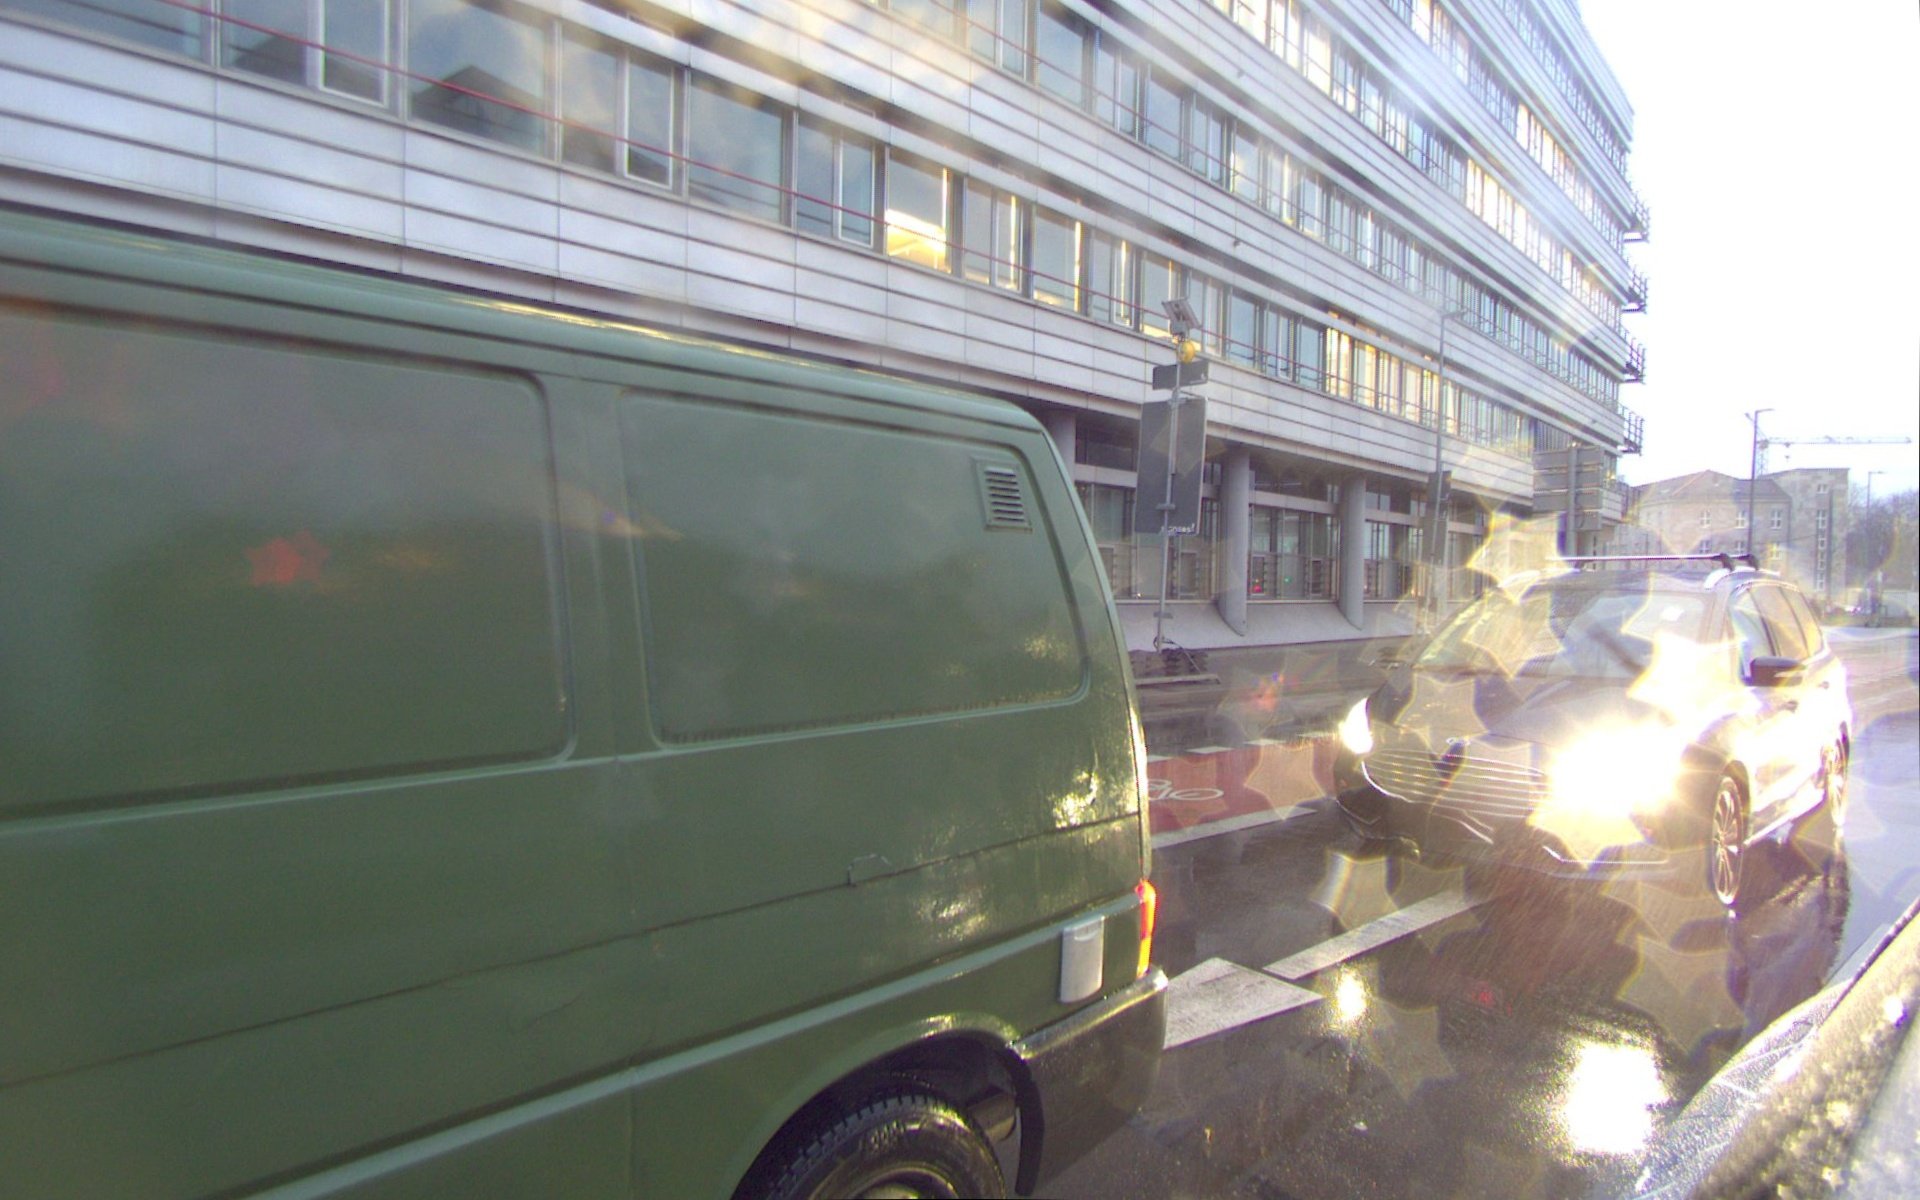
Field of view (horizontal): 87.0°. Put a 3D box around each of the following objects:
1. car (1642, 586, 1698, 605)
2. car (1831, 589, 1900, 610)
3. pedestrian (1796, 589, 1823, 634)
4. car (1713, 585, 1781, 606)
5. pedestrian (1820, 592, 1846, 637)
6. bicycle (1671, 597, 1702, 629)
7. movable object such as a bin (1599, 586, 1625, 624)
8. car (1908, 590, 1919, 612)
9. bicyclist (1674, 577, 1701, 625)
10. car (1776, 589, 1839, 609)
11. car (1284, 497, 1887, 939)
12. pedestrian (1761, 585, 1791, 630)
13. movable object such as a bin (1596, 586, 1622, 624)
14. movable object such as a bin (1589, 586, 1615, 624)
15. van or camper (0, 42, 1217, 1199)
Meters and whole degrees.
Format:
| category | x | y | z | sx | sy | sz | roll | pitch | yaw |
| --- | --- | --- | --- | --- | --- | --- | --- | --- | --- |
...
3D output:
| category | x | y | z | sx | sy | sz | roll | pitch | yaw |
| --- | --- | --- | --- | --- | --- | --- | --- | --- | --- |
| car | 68.605 | -0.428 | 97.856 | 1.958 | 1.693 | 4.013 | 0 | 1 | -24 |
| car | 74.284 | -0.069 | 83.072 | 1.743 | 1.556 | 3.775 | 1 | 2 | -24 |
| pedestrian | 33.479 | 0.432 | 39.893 | 0.870 | 1.723 | 0.650 | 0 | 3 | -44 |
| car | 71.062 | -0.460 | 91.419 | 1.958 | 1.782 | 4.386 | 0 | 1 | -24 |
| pedestrian | 33.951 | 0.546 | 39.374 | 0.870 | 1.689 | 0.615 | 0 | 3 | -44 |
| bicycle | 28.005 | 0.485 | 39.016 | 0.679 | 1.213 | 1.733 | -1 | -1 | 45 |
| movable object such as a bin | 26.065 | 0.187 | 40.472 | 0.826 | 1.495 | 0.665 | 0 | 1 | -44 |
| car | 76.582 | 0.114 | 78.582 | 1.743 | 1.730 | 3.932 | 0 | 1 | -26 |
| bicyclist | 28.084 | 0.025 | 39.077 | 0.793 | 1.820 | 0.670 | 0 | 2 | -45 |
| car | 72.874 | -0.080 | 87.047 | 1.743 | 1.556 | 3.775 | 1 | 2 | -24 |
| car | 4.174 | 0.481 | 6.405 | 4.587 | 1.834 | 1.887 | 0 | 0 | -39 |
| pedestrian | 33.162 | 0.297 | 41.121 | 0.953 | 1.722 | 0.746 | 0 | 4 | -44 |
| movable object such as a bin | 25.490 | 0.189 | 39.738 | 0.826 | 1.446 | 0.665 | 0 | 1 | -44 |
| movable object such as a bin | 24.831 | 0.173 | 39.153 | 0.826 | 1.446 | 0.665 | 0 | 1 | -44 |
| van or camper | -1.682 | 0.472 | 1.313 | 4.341 | 1.931 | 1.760 | 0 | 0 | -41 |
